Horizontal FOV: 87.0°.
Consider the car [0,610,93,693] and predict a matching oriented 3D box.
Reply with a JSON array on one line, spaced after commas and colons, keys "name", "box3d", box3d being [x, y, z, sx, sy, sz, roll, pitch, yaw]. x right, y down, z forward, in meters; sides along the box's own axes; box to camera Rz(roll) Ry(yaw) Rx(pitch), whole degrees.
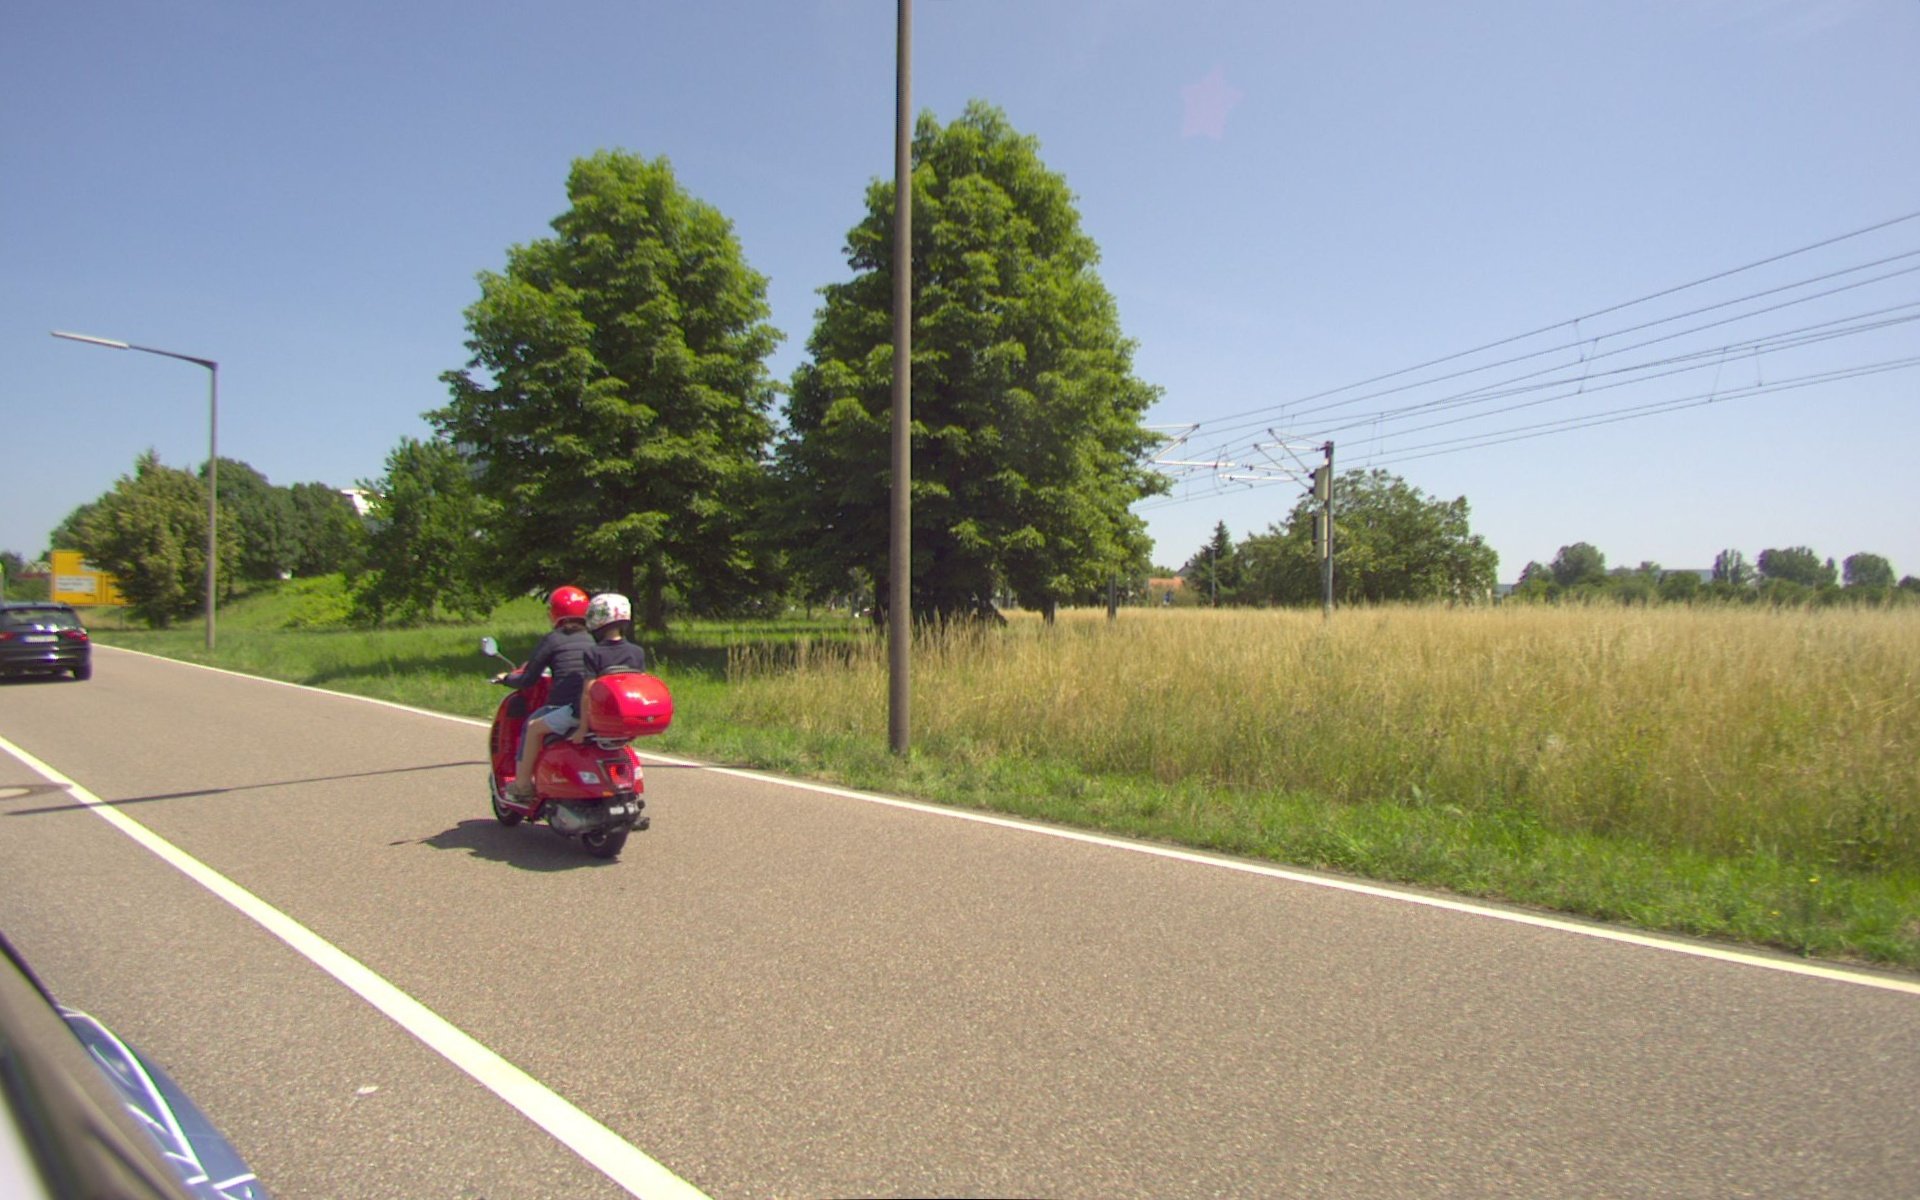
[{"name": "car", "box3d": [-20.171, 1.065, 21.680, 4.482, 1.614, 1.807, -2, -2, 41]}]

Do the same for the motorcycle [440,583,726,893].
[{"name": "motorcycle", "box3d": [-2.381, 0.765, 6.219, 2.145, 1.598, 0.696, -3, -3, 41]}]

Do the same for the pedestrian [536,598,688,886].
[{"name": "pedestrian", "box3d": [-2.030, 0.782, 5.909, 0.577, 1.548, 0.636, -3, -3, 40]}]

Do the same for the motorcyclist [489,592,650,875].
[{"name": "motorcyclist", "box3d": [-2.399, 0.777, 6.219, 0.669, 1.598, 0.681, -4, -4, 40]}]
